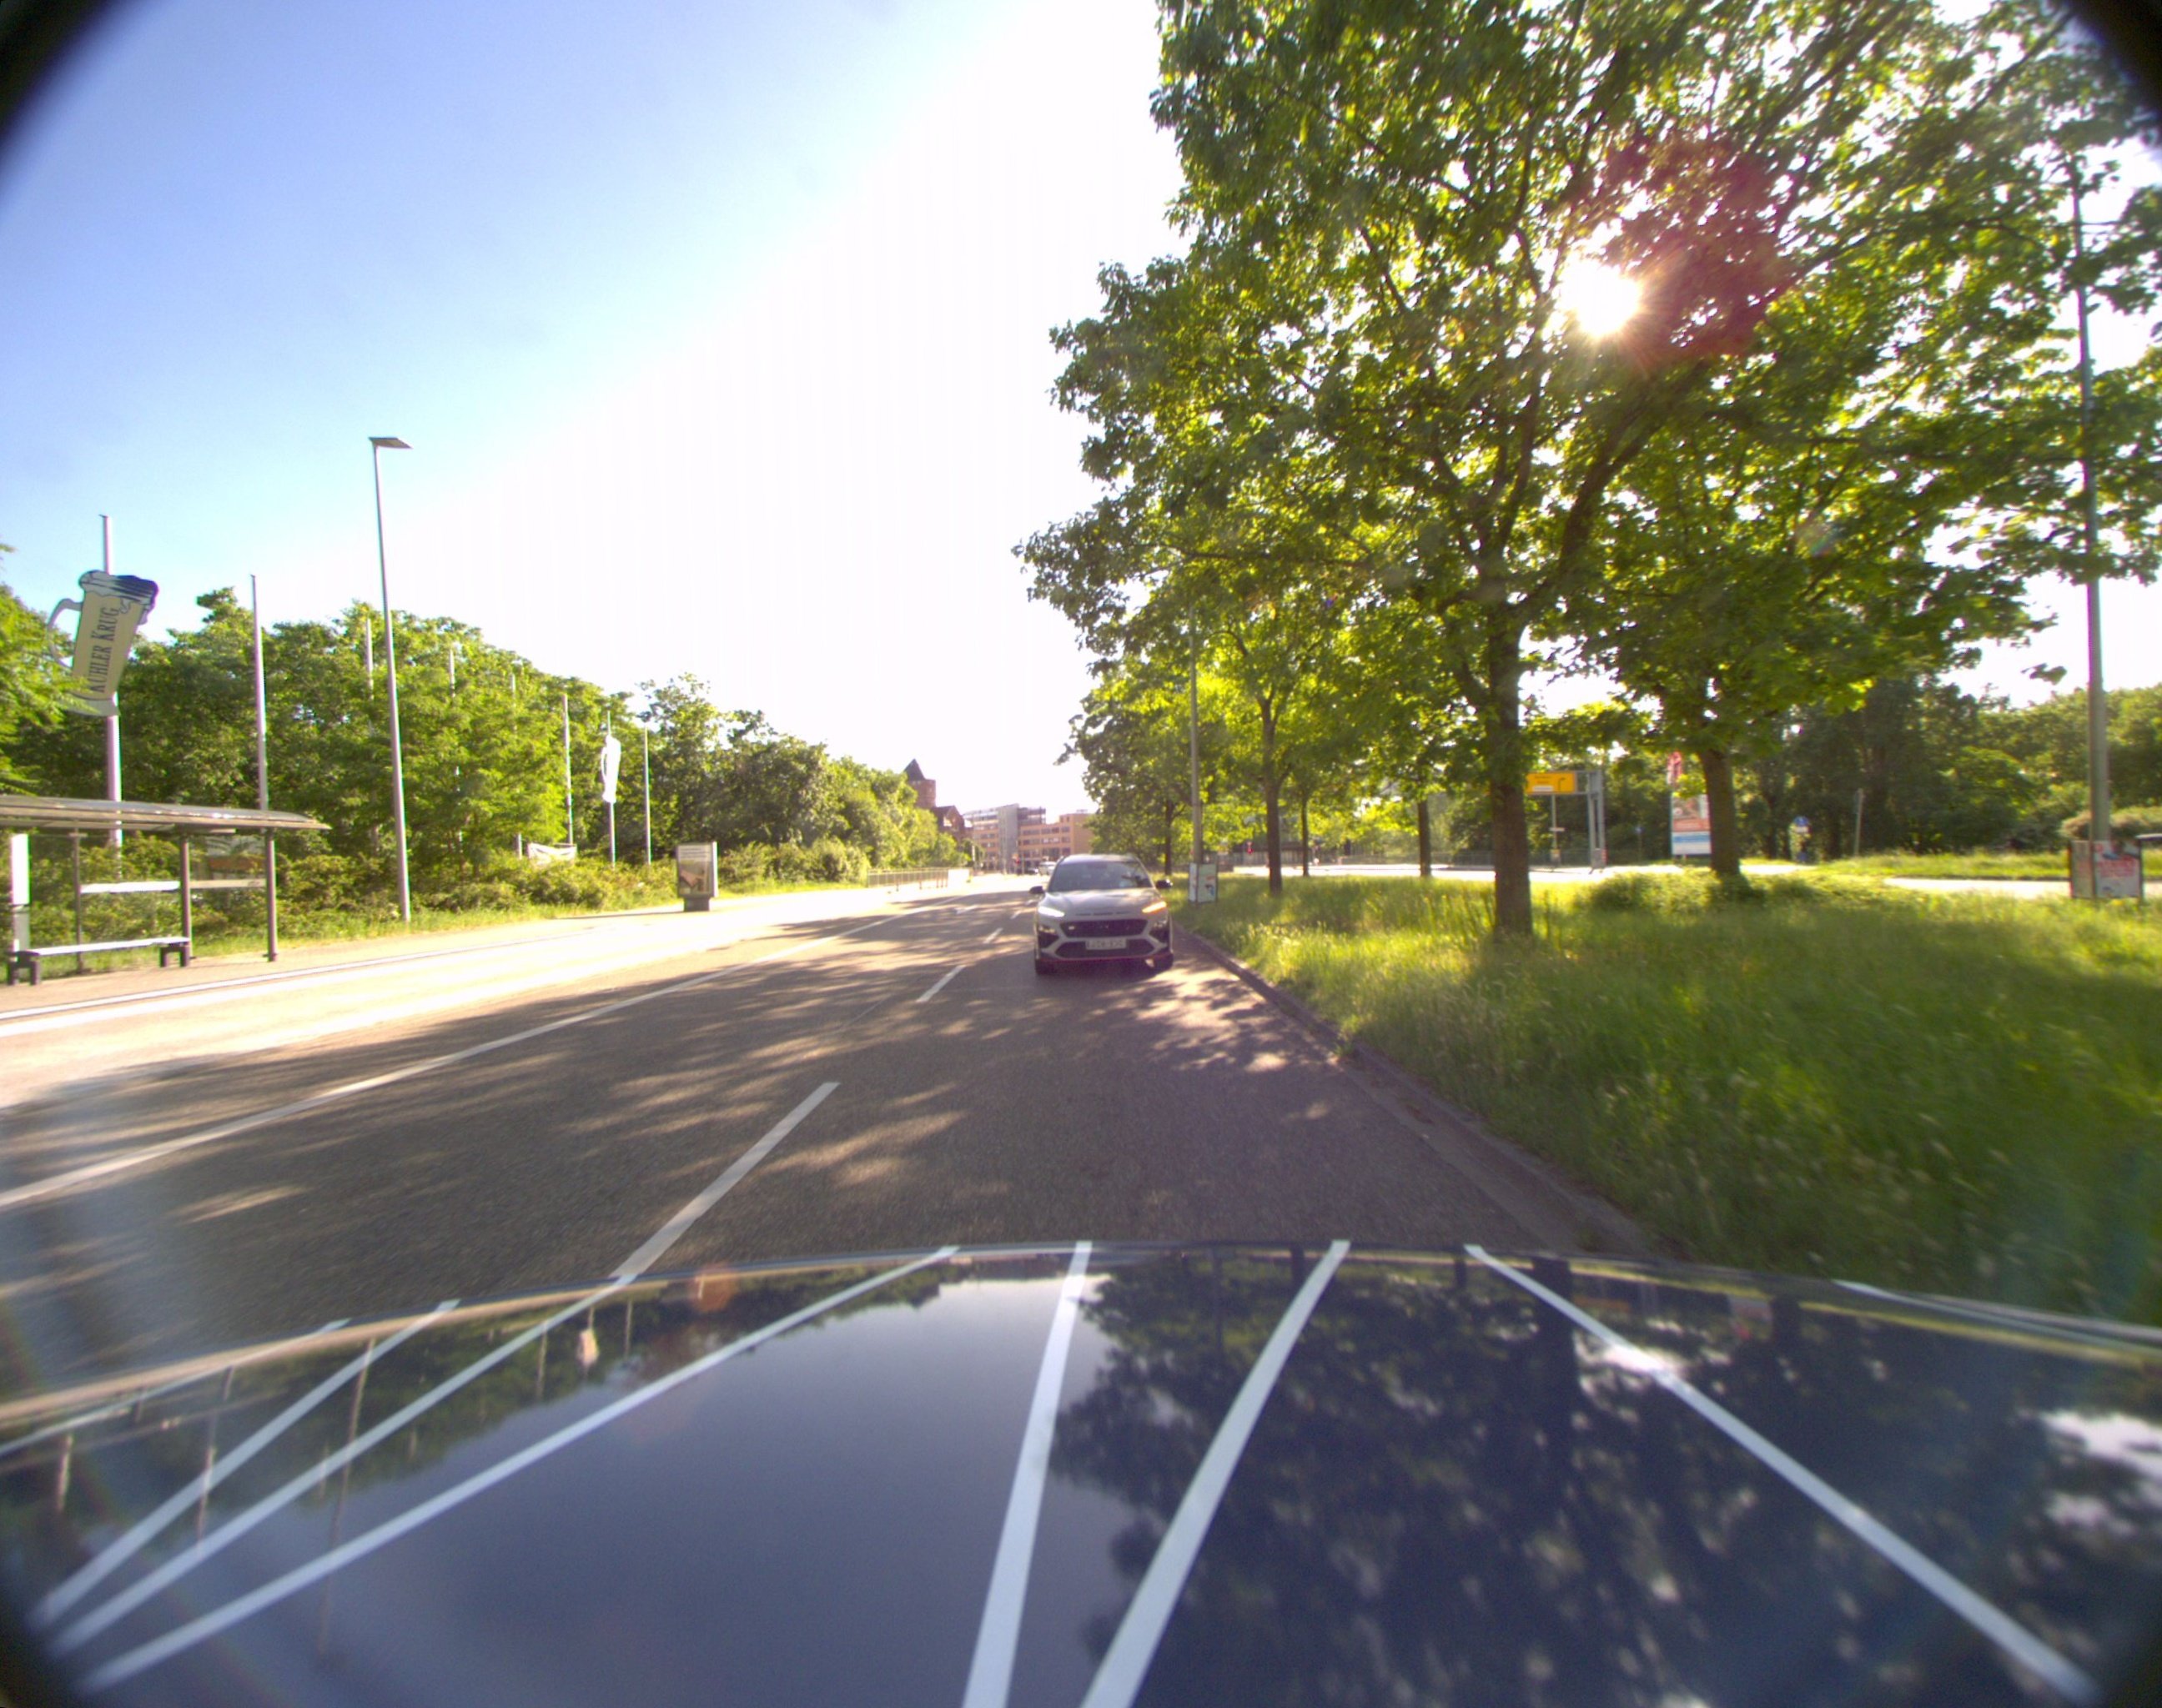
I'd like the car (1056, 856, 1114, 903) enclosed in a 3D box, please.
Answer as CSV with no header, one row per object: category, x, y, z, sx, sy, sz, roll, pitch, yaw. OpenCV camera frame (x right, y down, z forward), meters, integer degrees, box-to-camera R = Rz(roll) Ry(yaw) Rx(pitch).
car,0.211,0.874,27.568,1.744,1.539,4.002,-2,0,5

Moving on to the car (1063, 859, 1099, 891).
car,-0.015,1.034,39.382,1.678,1.499,3.948,-2,0,0

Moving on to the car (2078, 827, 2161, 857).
car,56.334,-0.672,39.934,2.003,1.455,4.547,-4,1,-30

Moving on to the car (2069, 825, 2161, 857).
car,53.280,-0.669,37.934,2.003,1.455,4.547,-4,1,-30

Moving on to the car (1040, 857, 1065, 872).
car,-3.855,1.451,102.291,1.749,1.537,3.996,1,-8,-29

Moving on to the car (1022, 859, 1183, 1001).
car,0.306,0.876,10.601,1.780,1.542,3.980,-2,0,2
